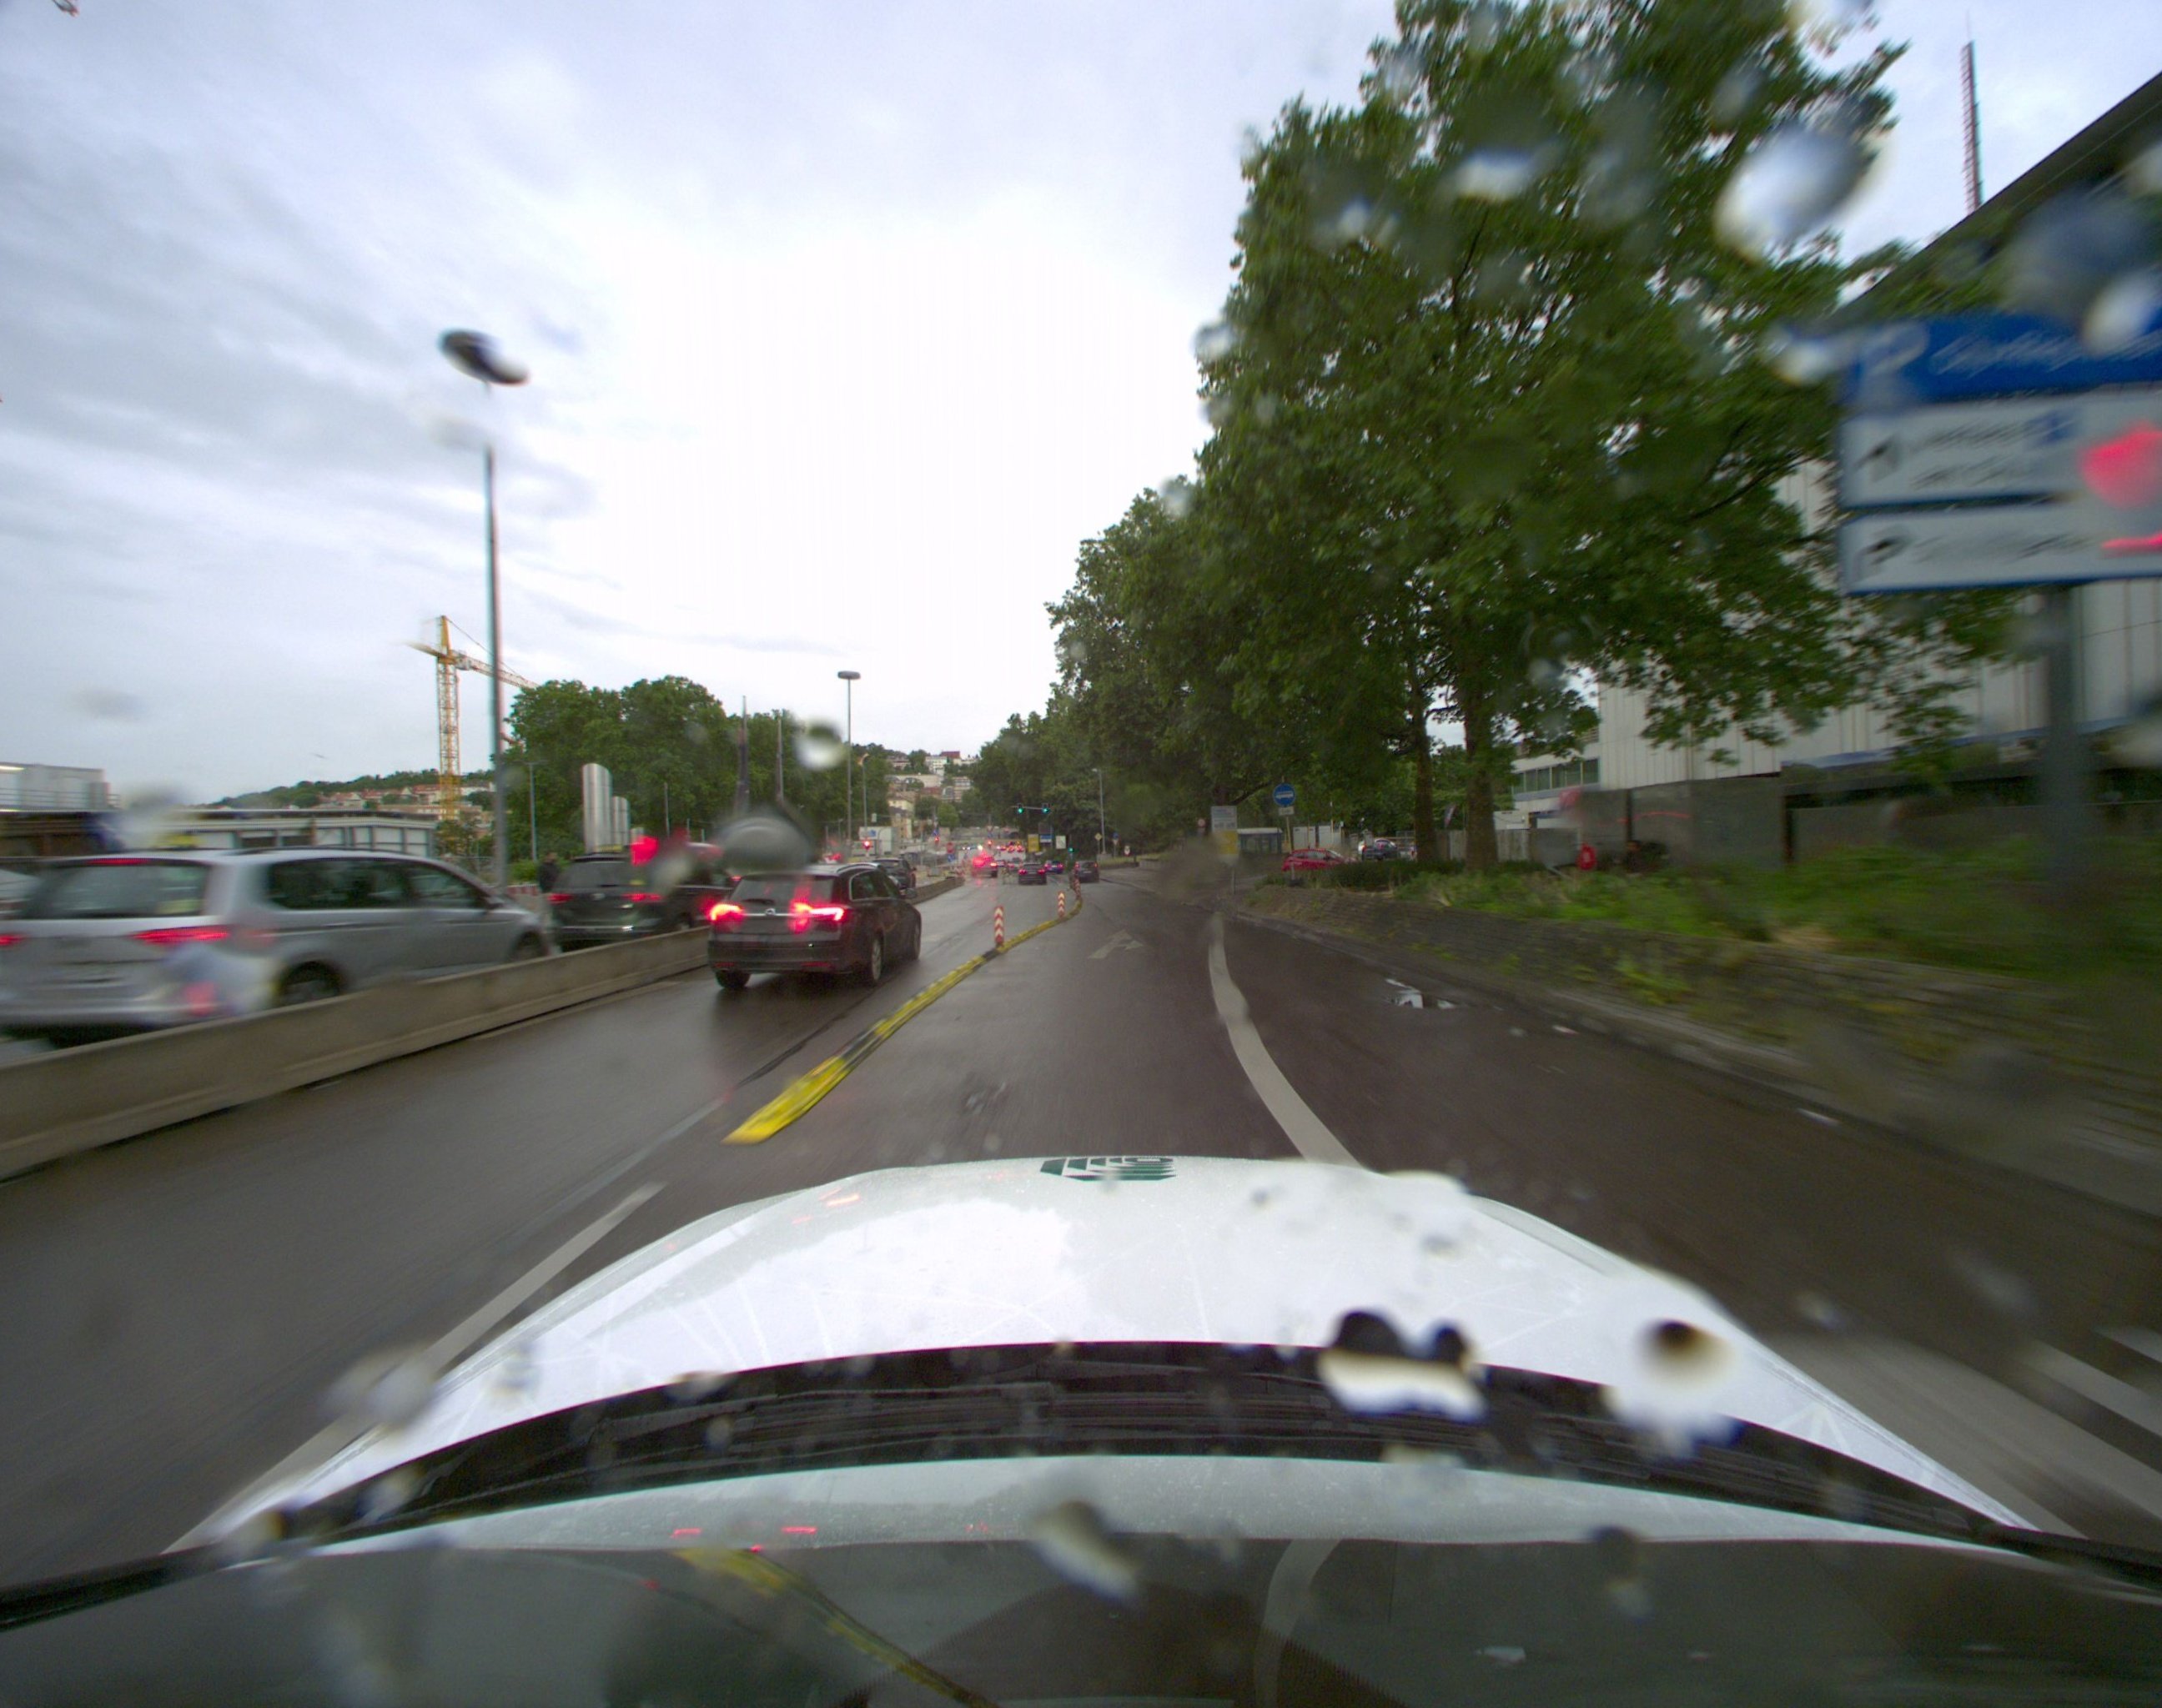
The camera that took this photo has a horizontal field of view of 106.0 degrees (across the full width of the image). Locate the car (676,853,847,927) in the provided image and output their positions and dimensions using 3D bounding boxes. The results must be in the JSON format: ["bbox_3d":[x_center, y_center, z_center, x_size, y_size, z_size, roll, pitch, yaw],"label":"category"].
[{"bbox_3d":[-7.266,0.752,19.210,1.965,1.511,5.006,0,-1,1],"label":"car"}]

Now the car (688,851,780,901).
[{"bbox_3d":[-12.142,0.717,28.796,1.711,1.629,4.050,0,0,-4],"label":"car"}]

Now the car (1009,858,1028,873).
[{"bbox_3d":[-7.054,1.310,92.450,1.898,1.717,3.999,0,-1,-1],"label":"car"}]

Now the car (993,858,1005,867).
[{"bbox_3d":[-13.894,1.476,138.575,1.813,1.574,3.987,0,-1,-9],"label":"car"}]

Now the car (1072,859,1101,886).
[{"bbox_3d":[0.320,1.188,54.191,1.846,1.717,3.999,0,-1,-1],"label":"car"}]

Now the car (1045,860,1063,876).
[{"bbox_3d":[-2.654,1.356,80.591,1.668,1.581,3.240,0,-1,1],"label":"car"}]

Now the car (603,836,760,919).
[{"bbox_3d":[-10.834,0.594,22.625,1.989,2.014,5.362,0,-1,-4],"label":"car"}]

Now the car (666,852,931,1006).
[{"bbox_3d":[-3.290,0.759,10.641,1.873,1.508,4.848,-1,0,-2],"label":"car"}]

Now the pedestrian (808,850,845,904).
[{"bbox_3d":[-9.641,0.869,30.902,1.015,2.013,0.841,-1,0,29],"label":"pedestrian"}]

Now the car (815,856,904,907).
[{"bbox_3d":[-7.792,0.927,29.150,1.989,1.567,4.871,-3,0,-2],"label":"car"}]

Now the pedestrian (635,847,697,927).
[{"bbox_3d":[-9.585,0.746,18.825,0.830,1.784,1.029,-1,0,3],"label":"pedestrian"}]

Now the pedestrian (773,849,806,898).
[{"bbox_3d":[-10.274,0.665,28.702,1.029,1.682,0.830,-1,0,-24],"label":"pedestrian"}]

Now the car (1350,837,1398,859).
[{"bbox_3d":[24.528,-0.499,68.045,4.479,1.781,1.926,0,-1,-43],"label":"car"}]

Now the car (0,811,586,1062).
[{"bbox_3d":[-7.109,0.577,7.909,1.819,1.696,4.769,0,-1,-2],"label":"car"}]

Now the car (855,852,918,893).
[{"bbox_3d":[-8.205,0.769,34.640,1.991,1.530,4.143,-3,0,-6],"label":"car"}]

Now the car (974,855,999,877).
[{"bbox_3d":[-8.088,1.032,69.526,1.993,1.827,3.988,0,-1,-9],"label":"car"}]

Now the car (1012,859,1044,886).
[{"bbox_3d":[-3.451,1.195,53.935,1.825,1.686,4.133,-2,0,0],"label":"car"}]

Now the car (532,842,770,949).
[{"bbox_3d":[-6.996,0.604,13.895,1.819,1.511,4.486,0,-1,-2],"label":"car"}]

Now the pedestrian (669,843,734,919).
[{"bbox_3d":[-8.653,0.607,18.604,1.020,1.675,0.837,-1,0,3],"label":"pedestrian"}]

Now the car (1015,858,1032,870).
[{"bbox_3d":[-7.839,1.407,111.364,1.637,1.624,3.775,0,-1,-15],"label":"car"}]

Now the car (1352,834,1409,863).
[{"bbox_3d":[21.899,-0.372,59.439,2.107,2.014,4.676,-1,-1,45],"label":"car"}]

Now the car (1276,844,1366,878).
[{"bbox_3d":[11.031,0.325,37.533,3.573,1.506,1.745,-1,-1,40],"label":"car"}]

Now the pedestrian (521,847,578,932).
[{"bbox_3d":[-11.168,0.732,17.129,0.632,1.753,0.823,0,-1,4],"label":"pedestrian"}]
